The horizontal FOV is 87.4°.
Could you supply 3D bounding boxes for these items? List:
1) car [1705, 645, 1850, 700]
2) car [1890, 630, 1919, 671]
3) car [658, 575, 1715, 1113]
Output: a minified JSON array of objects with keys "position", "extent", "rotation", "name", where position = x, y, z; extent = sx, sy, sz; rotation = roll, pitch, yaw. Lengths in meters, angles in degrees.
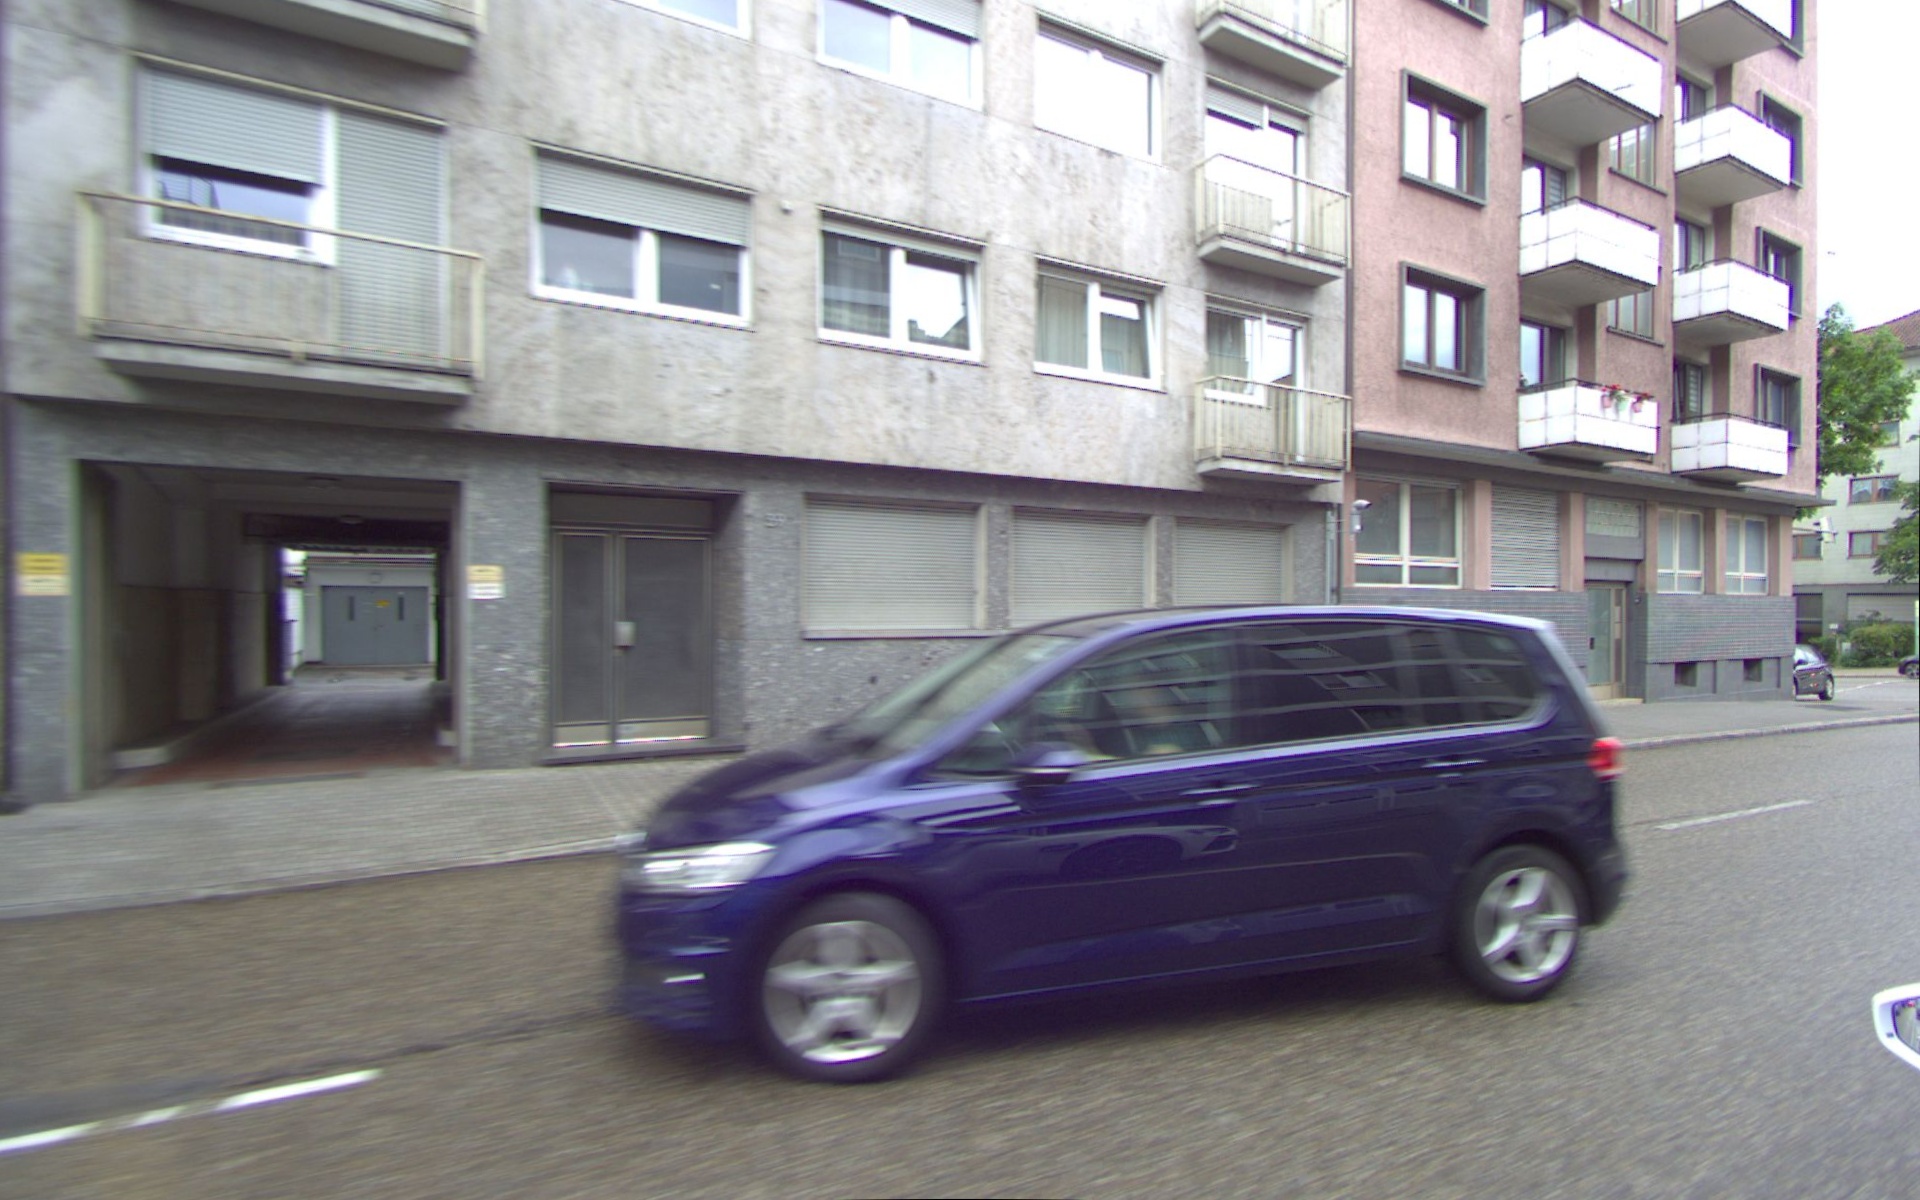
[{"position":[21.800,1.913,26.756],"extent":[3.954,1.377,1.724],"rotation":[2,-4,-31],"name":"car"},{"position":[36.438,1.869,36.005],"extent":[1.700,1.472,4.245],"rotation":[2,-1,-25],"name":"car"},{"position":[0.867,0.779,4.566],"extent":[4.239,1.596,1.993],"rotation":[1,-1,-17],"name":"car"}]
